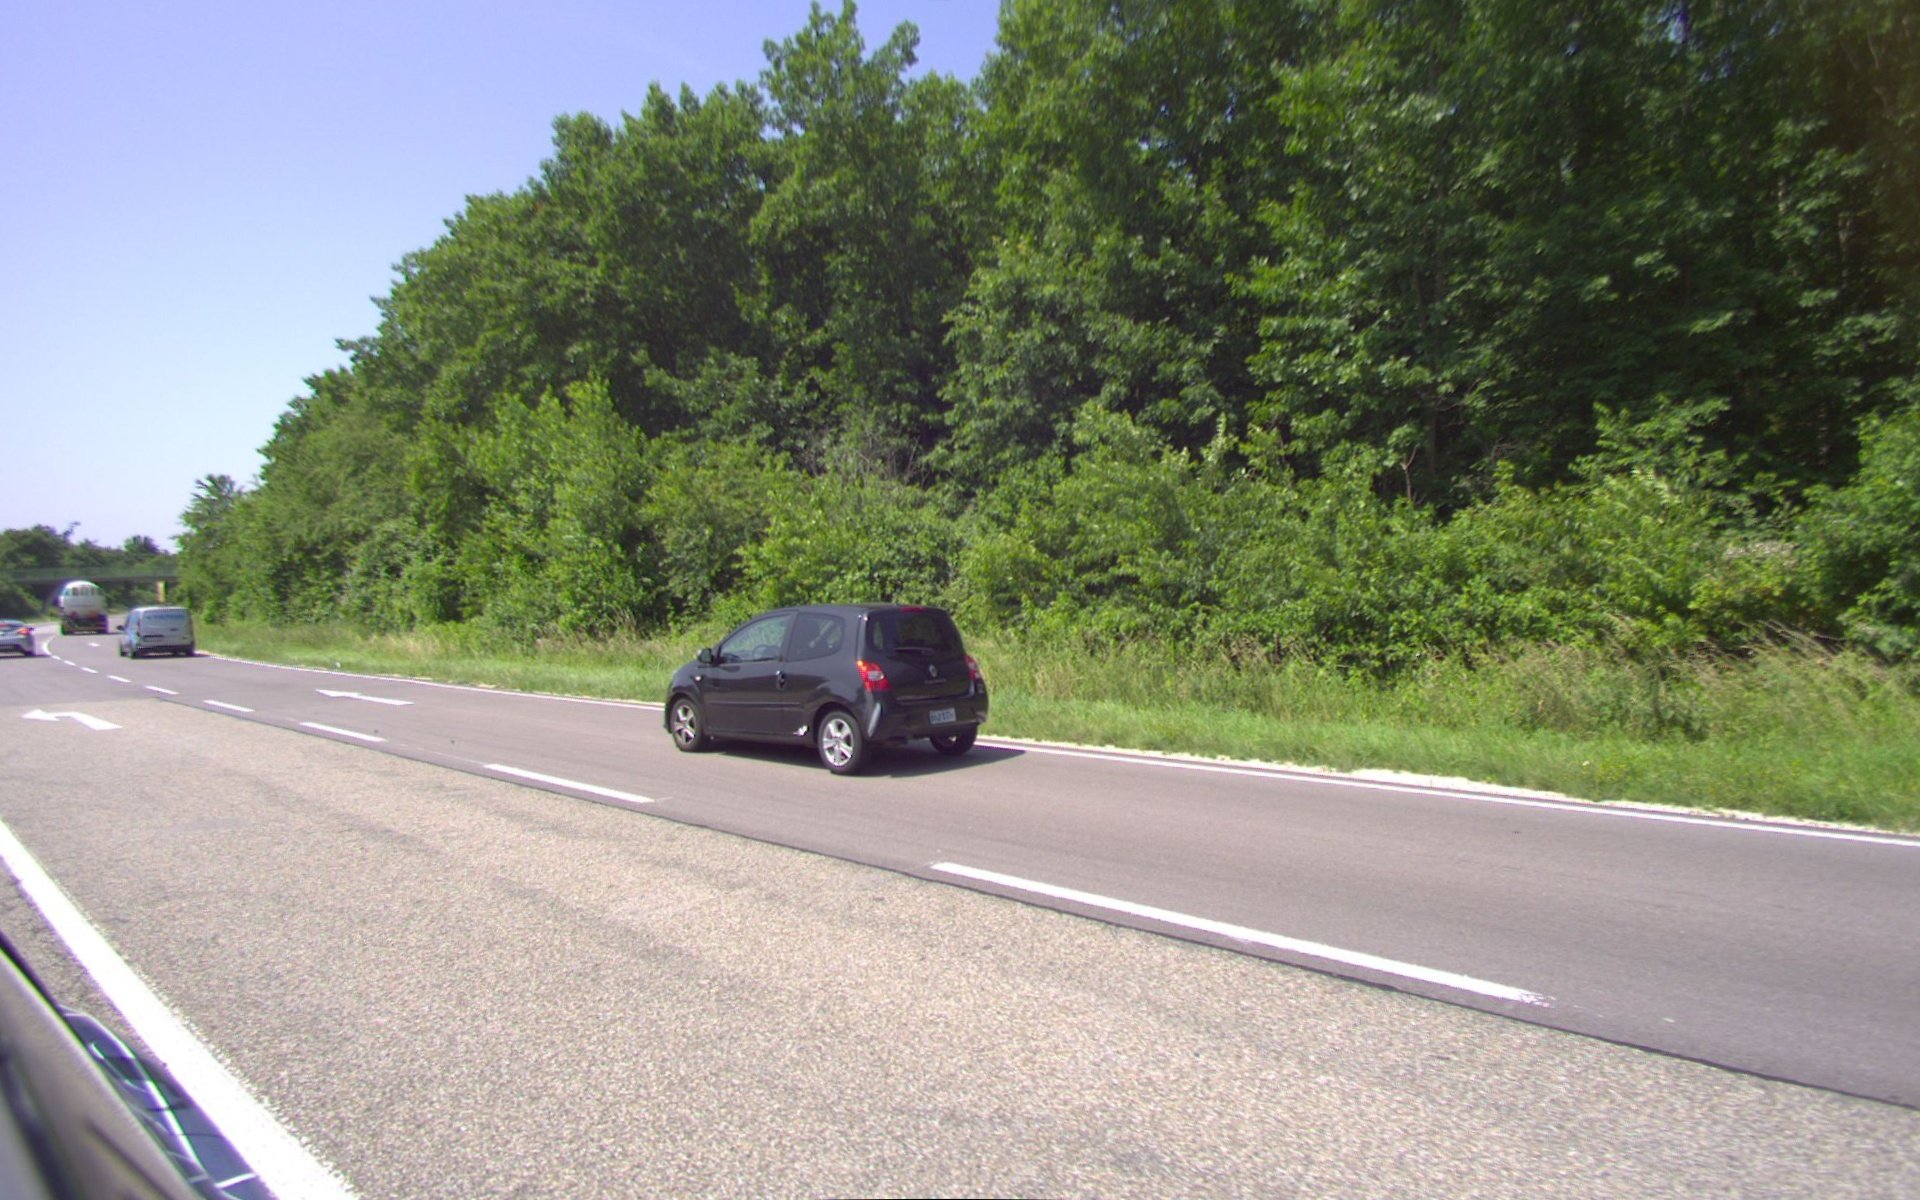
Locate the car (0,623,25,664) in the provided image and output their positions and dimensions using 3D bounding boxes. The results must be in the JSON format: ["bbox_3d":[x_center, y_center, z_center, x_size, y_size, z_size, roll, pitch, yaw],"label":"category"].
[{"bbox_3d":[-36.488,1.640,38.215,1.688,1.430,4.102,-1,0,-43],"label":"car"}]

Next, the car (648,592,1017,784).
[{"bbox_3d":[-1.342,0.732,9.807,3.551,1.513,1.597,-2,0,42],"label":"car"}]

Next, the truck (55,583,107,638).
[{"bbox_3d":[-62.406,0.738,71.980,2.594,3.698,8.811,-1,0,-40],"label":"truck"}]

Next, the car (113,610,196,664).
[{"bbox_3d":[-29.441,1.307,36.943,4.896,1.792,1.822,-2,0,45],"label":"car"}]
